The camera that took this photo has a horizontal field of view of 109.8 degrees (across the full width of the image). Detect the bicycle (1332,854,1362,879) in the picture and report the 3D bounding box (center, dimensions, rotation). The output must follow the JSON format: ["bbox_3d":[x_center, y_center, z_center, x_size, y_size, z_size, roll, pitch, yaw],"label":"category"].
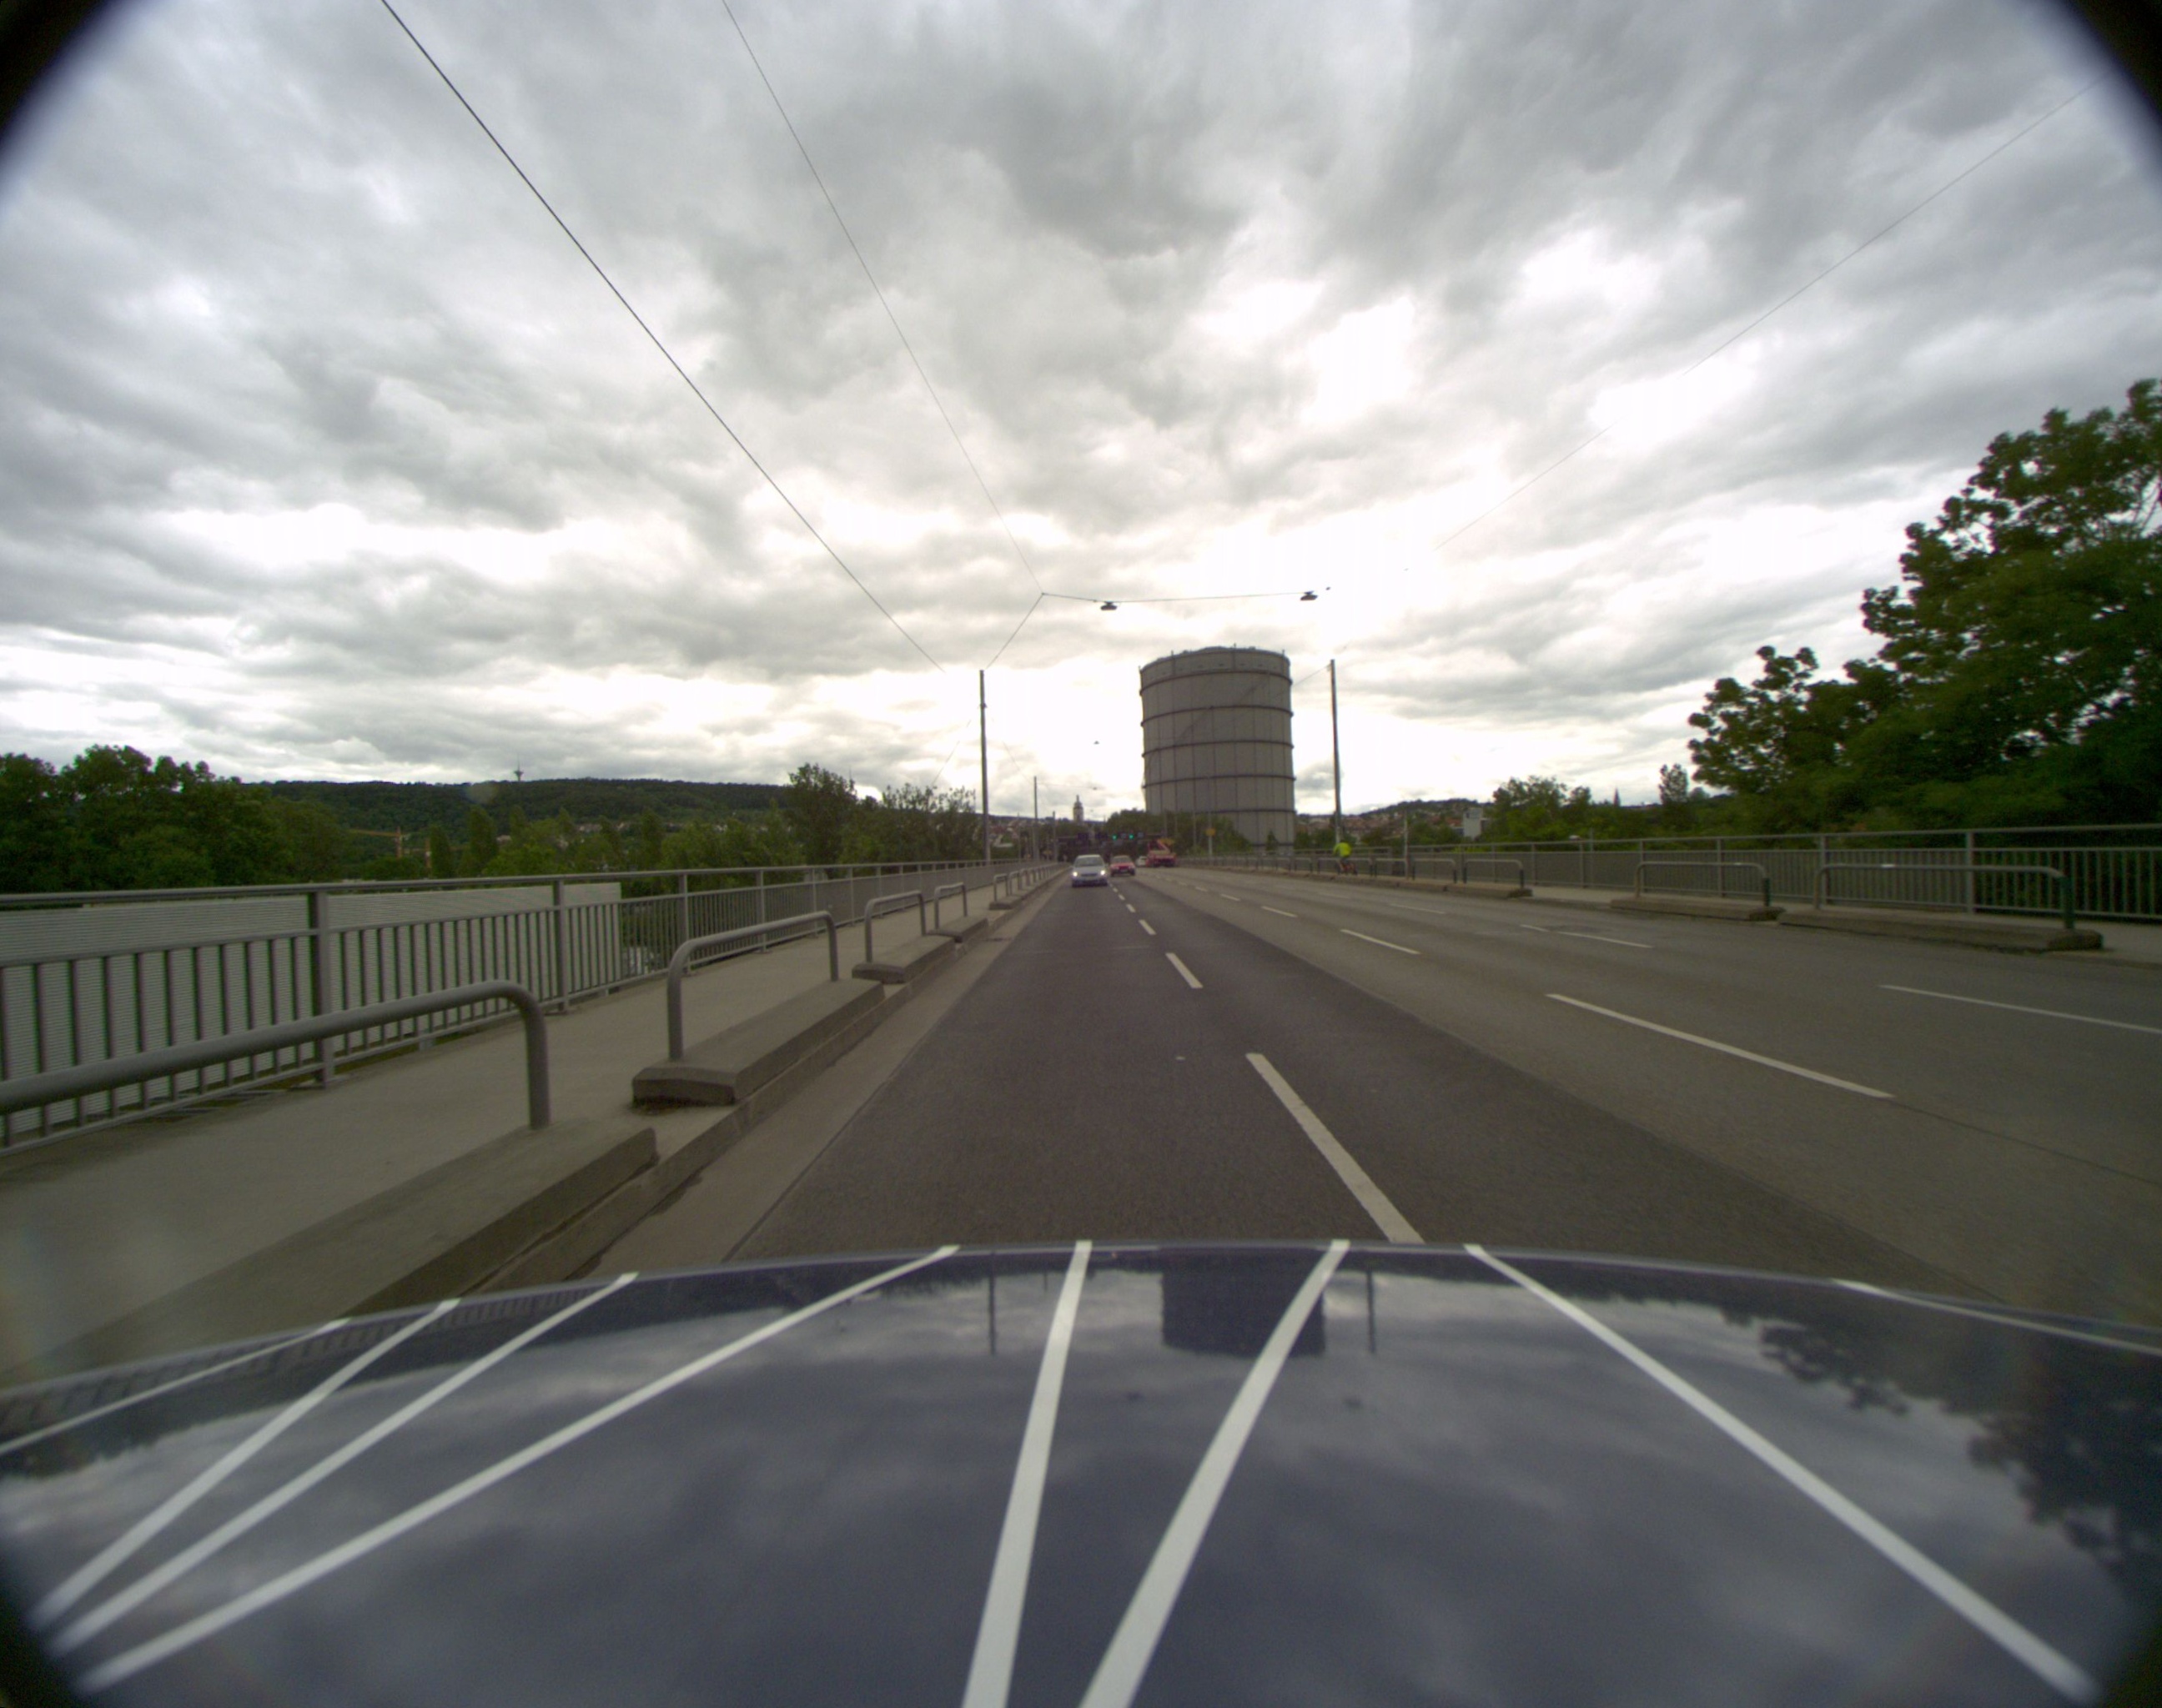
[{"bbox_3d":[12.610,0.585,36.072,0.636,1.058,1.982,-10,0,3],"label":"bicycle"}]

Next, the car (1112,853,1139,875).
[{"bbox_3d":[3.156,0.700,54.587,1.696,1.434,3.999,-1,1,0],"label":"car"}]

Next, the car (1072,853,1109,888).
[{"bbox_3d":[0.513,0.816,39.199,1.771,1.565,3.999,-2,1,1],"label":"car"}]

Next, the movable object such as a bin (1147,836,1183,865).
[{"bbox_3d":[10.100,-0.446,92.286,3.464,3.304,9.357,-1,1,1],"label":"movable object such as a bin"}]

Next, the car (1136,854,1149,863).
[{"bbox_3d":[9.643,0.686,118.914,1.696,1.434,3.798,-1,1,-1],"label":"car"}]

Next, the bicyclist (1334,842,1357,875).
[{"bbox_3d":[12.548,0.190,36.043,0.627,1.467,0.670,-10,0,3],"label":"bicyclist"}]

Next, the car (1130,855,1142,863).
[{"bbox_3d":[9.536,0.844,131.794,1.696,1.434,3.644,-1,1,-1],"label":"car"}]
